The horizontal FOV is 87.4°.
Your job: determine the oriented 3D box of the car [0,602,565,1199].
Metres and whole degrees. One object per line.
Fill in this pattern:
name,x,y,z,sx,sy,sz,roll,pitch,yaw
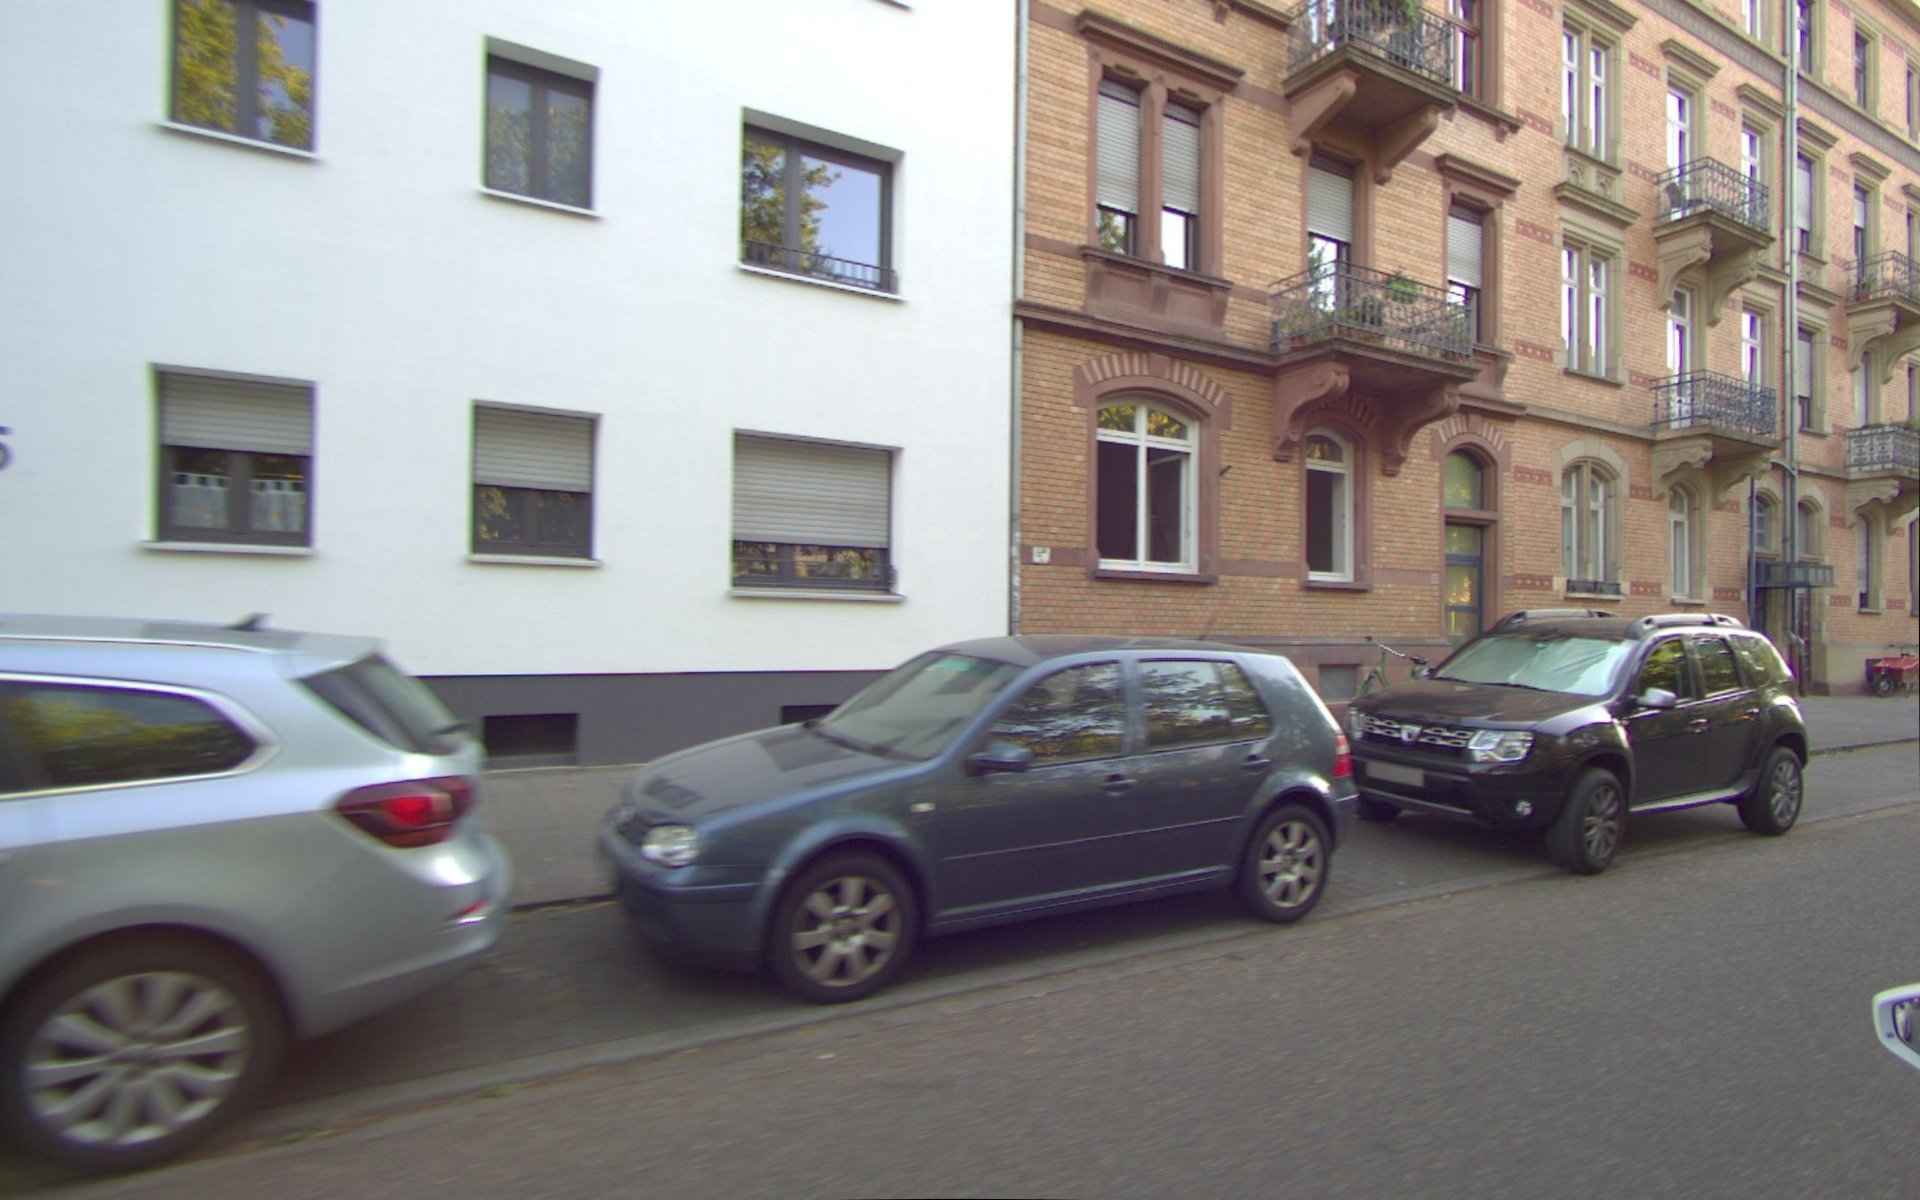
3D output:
car,-3.537,0.771,2.958,4.231,1.491,1.661,2,1,-29

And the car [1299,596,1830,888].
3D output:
car,4.749,0.891,7.763,4.151,1.728,1.743,2,-1,-30

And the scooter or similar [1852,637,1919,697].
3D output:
scooter or similar,20.766,1.501,22.179,2.672,1.238,0.780,3,-2,-30

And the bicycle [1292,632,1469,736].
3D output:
bicycle,5.480,1.037,13.032,2.483,1.223,0.733,1,0,-29

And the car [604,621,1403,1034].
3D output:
car,0.306,0.893,5.321,3.949,1.471,1.609,1,0,-27
